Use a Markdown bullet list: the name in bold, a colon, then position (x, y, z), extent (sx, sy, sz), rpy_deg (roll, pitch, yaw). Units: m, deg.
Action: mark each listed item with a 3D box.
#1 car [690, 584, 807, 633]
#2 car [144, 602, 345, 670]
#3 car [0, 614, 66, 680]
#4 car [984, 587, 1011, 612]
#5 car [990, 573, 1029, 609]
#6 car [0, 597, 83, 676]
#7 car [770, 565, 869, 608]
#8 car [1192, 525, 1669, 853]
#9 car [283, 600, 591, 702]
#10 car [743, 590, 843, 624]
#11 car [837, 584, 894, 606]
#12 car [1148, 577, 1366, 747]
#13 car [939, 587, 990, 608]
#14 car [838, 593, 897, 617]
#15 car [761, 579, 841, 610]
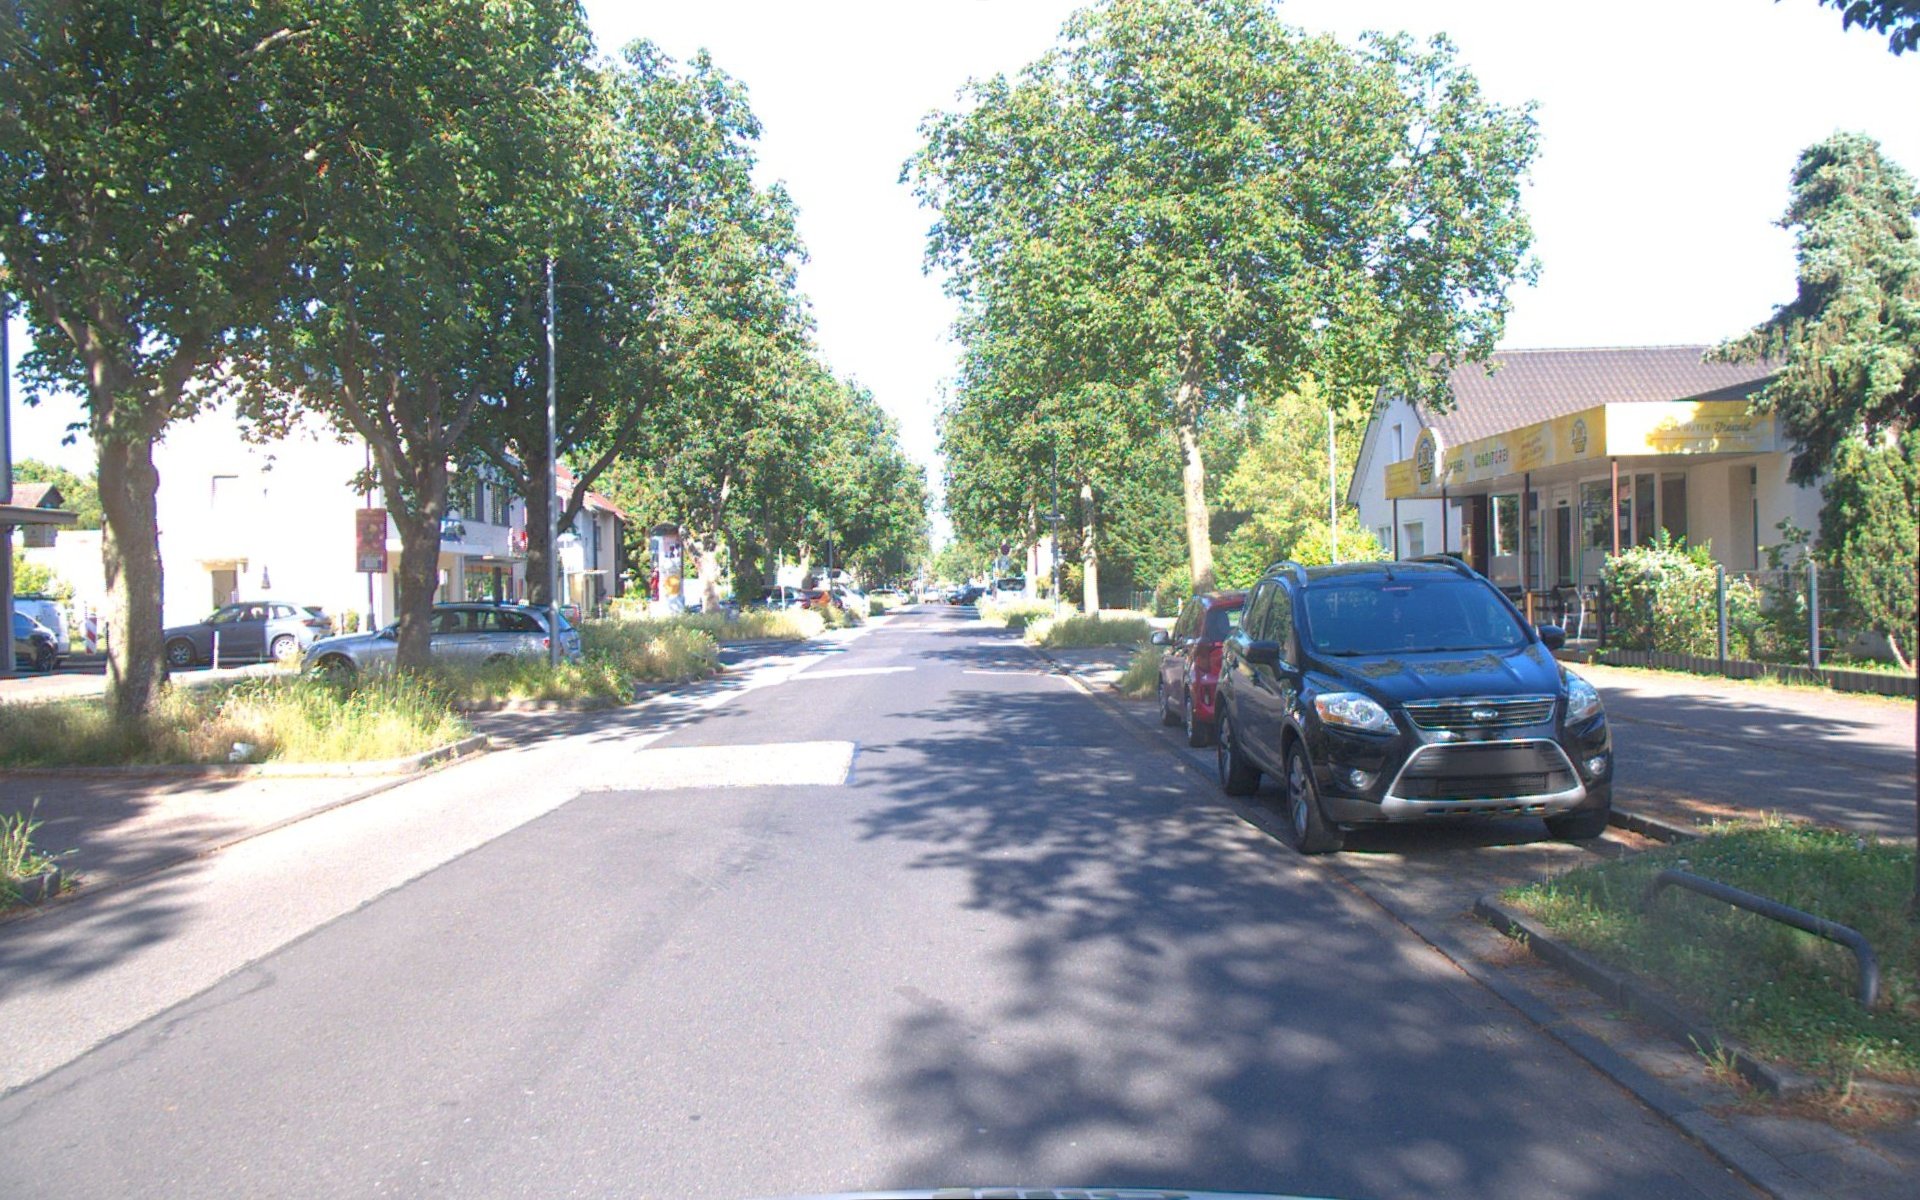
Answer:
- **car**: position (-8.259, 0.314, 65.039), extent (4.457, 1.796, 1.998), rpy_deg (0, 2, -5)
- **car**: position (-18.965, 0.930, 44.018), extent (4.465, 1.646, 1.999), rpy_deg (0, 2, -4)
- **car**: position (-20.625, 0.998, 35.040), extent (1.509, 1.258, 3.510), rpy_deg (0, 2, -1)
- **car**: position (2.745, -0.035, 122.109), extent (1.864, 1.805, 4.301), rpy_deg (0, 0, 0)
- **car**: position (2.500, -0.456, 83.926), extent (1.864, 1.805, 4.301), rpy_deg (0, 0, 0)
- **car**: position (-26.048, 0.953, 43.854), extent (4.465, 1.961, 1.999), rpy_deg (0, 2, -4)
- **car**: position (-7.862, -0.786, 92.827), extent (5.387, 2.286, 2.516), rpy_deg (0, 2, -2)
- **car**: position (2.839, 0.479, 11.101), extent (1.815, 1.654, 4.469), rpy_deg (-3, 0, -1)
- **car**: position (-8.538, 0.816, 27.293), extent (4.461, 1.537, 1.841), rpy_deg (0, 2, -1)
- **car**: position (-7.169, 0.291, 71.098), extent (4.203, 1.338, 1.907), rpy_deg (0, 2, -5)
- **car**: position (-6.245, -0.326, 109.367), extent (3.624, 1.471, 1.665), rpy_deg (0, 0, 3)
- **car**: position (3.021, 0.578, 17.548), extent (1.662, 1.504, 3.889), rpy_deg (-3, 0, 2)
- **car**: position (0.372, -0.263, 141.342), extent (3.939, 1.672, 1.984), rpy_deg (-1, 2, -26)
- **car**: position (-5.946, 0.320, 106.675), extent (3.624, 1.471, 1.665), rpy_deg (0, 0, 3)
- **car**: position (-8.007, -0.270, 83.433), extent (3.794, 1.504, 1.895), rpy_deg (1, 0, 2)
